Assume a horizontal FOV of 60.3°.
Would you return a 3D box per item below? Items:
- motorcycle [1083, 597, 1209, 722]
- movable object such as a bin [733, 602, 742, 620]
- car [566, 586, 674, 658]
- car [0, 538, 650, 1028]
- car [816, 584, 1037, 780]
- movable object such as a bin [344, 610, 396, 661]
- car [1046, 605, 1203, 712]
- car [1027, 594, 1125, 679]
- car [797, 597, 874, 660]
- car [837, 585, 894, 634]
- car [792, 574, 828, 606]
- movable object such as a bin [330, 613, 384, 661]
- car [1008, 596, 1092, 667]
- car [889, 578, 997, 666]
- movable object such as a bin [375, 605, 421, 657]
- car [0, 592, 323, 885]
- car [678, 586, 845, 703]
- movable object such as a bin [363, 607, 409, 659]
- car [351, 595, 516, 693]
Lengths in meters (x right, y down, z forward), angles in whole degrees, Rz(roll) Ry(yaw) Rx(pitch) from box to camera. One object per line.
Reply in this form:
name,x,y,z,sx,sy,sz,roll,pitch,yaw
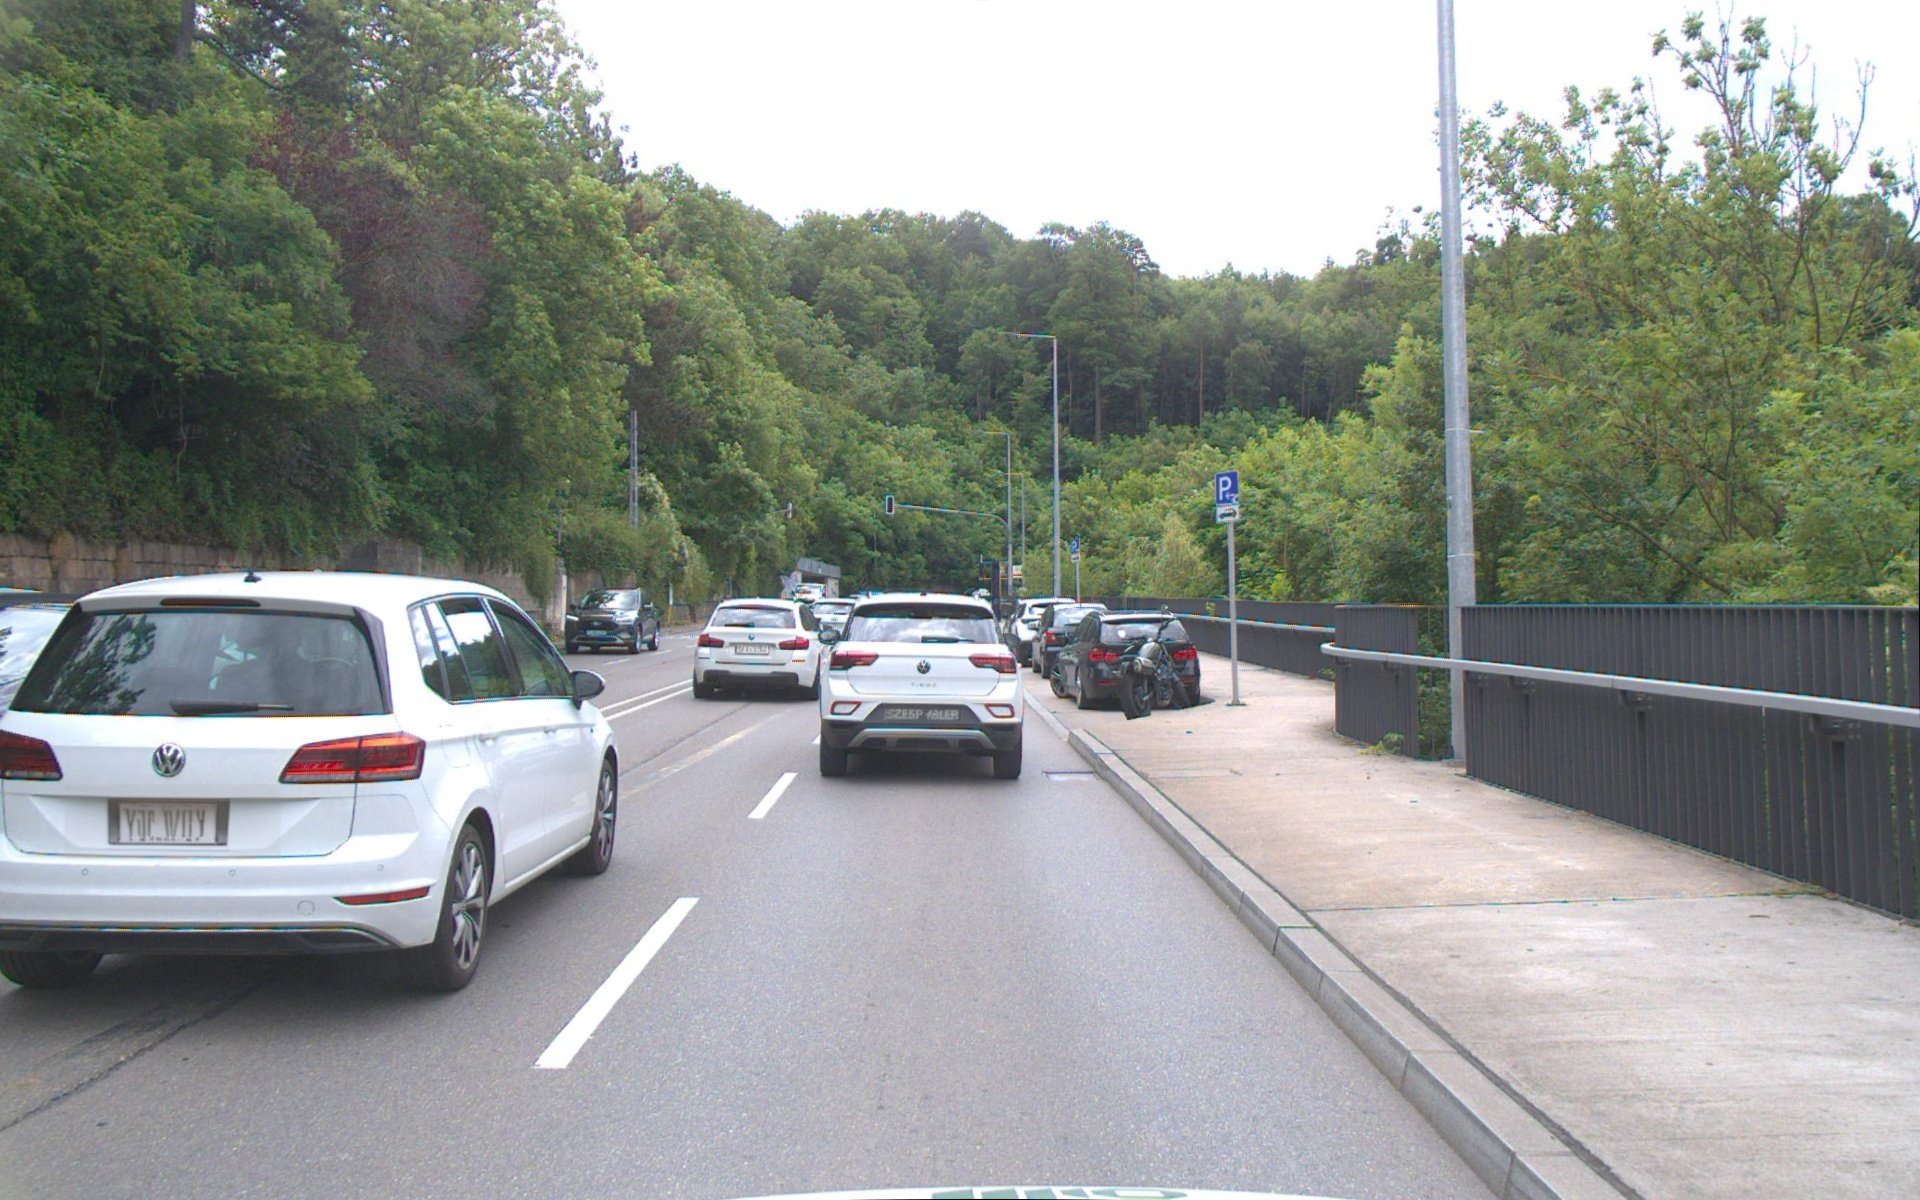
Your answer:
motorcycle,2.431,0.728,21.270,0.755,1.493,2.502,1,0,27
movable object such as a bin,-12.716,0.633,94.683,0.418,0.966,0.479,2,-1,-2
car,-8.737,0.556,42.854,1.778,1.727,4.470,1,0,1
car,-2.620,0.598,7.548,1.685,1.581,4.274,1,0,-2
car,-0.289,0.684,15.337,1.777,1.566,4.007,0,-1,-1
movable object such as a bin,-12.304,0.731,34.511,0.880,1.052,0.621,0,0,-5
car,2.419,0.826,25.301,1.786,1.425,4.317,-2,0,-2
car,2.366,0.718,34.722,1.626,1.599,4.254,-2,0,-1
car,-3.459,0.784,46.487,1.824,1.623,3.999,2,0,0
car,-3.592,0.358,63.504,1.953,1.771,4.000,1,0,0
car,-9.804,-0.630,108.251,1.882,2.040,5.355,1,0,-1
movable object such as a bin,-12.331,0.758,33.839,0.898,0.962,0.593,0,0,-4
car,2.118,0.735,40.130,1.691,1.596,4.623,-1,0,-1
car,-0.329,0.514,38.761,1.951,1.875,4.153,2,0,7
movable object such as a bin,-12.213,0.666,35.965,0.772,1.089,0.708,0,1,-4
car,-5.746,0.694,10.360,1.818,1.471,4.295,1,0,0
car,-2.957,0.618,25.624,1.953,1.585,4.681,2,0,0
movable object such as a bin,-12.228,0.697,35.227,0.757,1.080,0.717,0,0,-4
car,-8.574,0.683,27.213,1.551,1.487,3.523,1,0,0
